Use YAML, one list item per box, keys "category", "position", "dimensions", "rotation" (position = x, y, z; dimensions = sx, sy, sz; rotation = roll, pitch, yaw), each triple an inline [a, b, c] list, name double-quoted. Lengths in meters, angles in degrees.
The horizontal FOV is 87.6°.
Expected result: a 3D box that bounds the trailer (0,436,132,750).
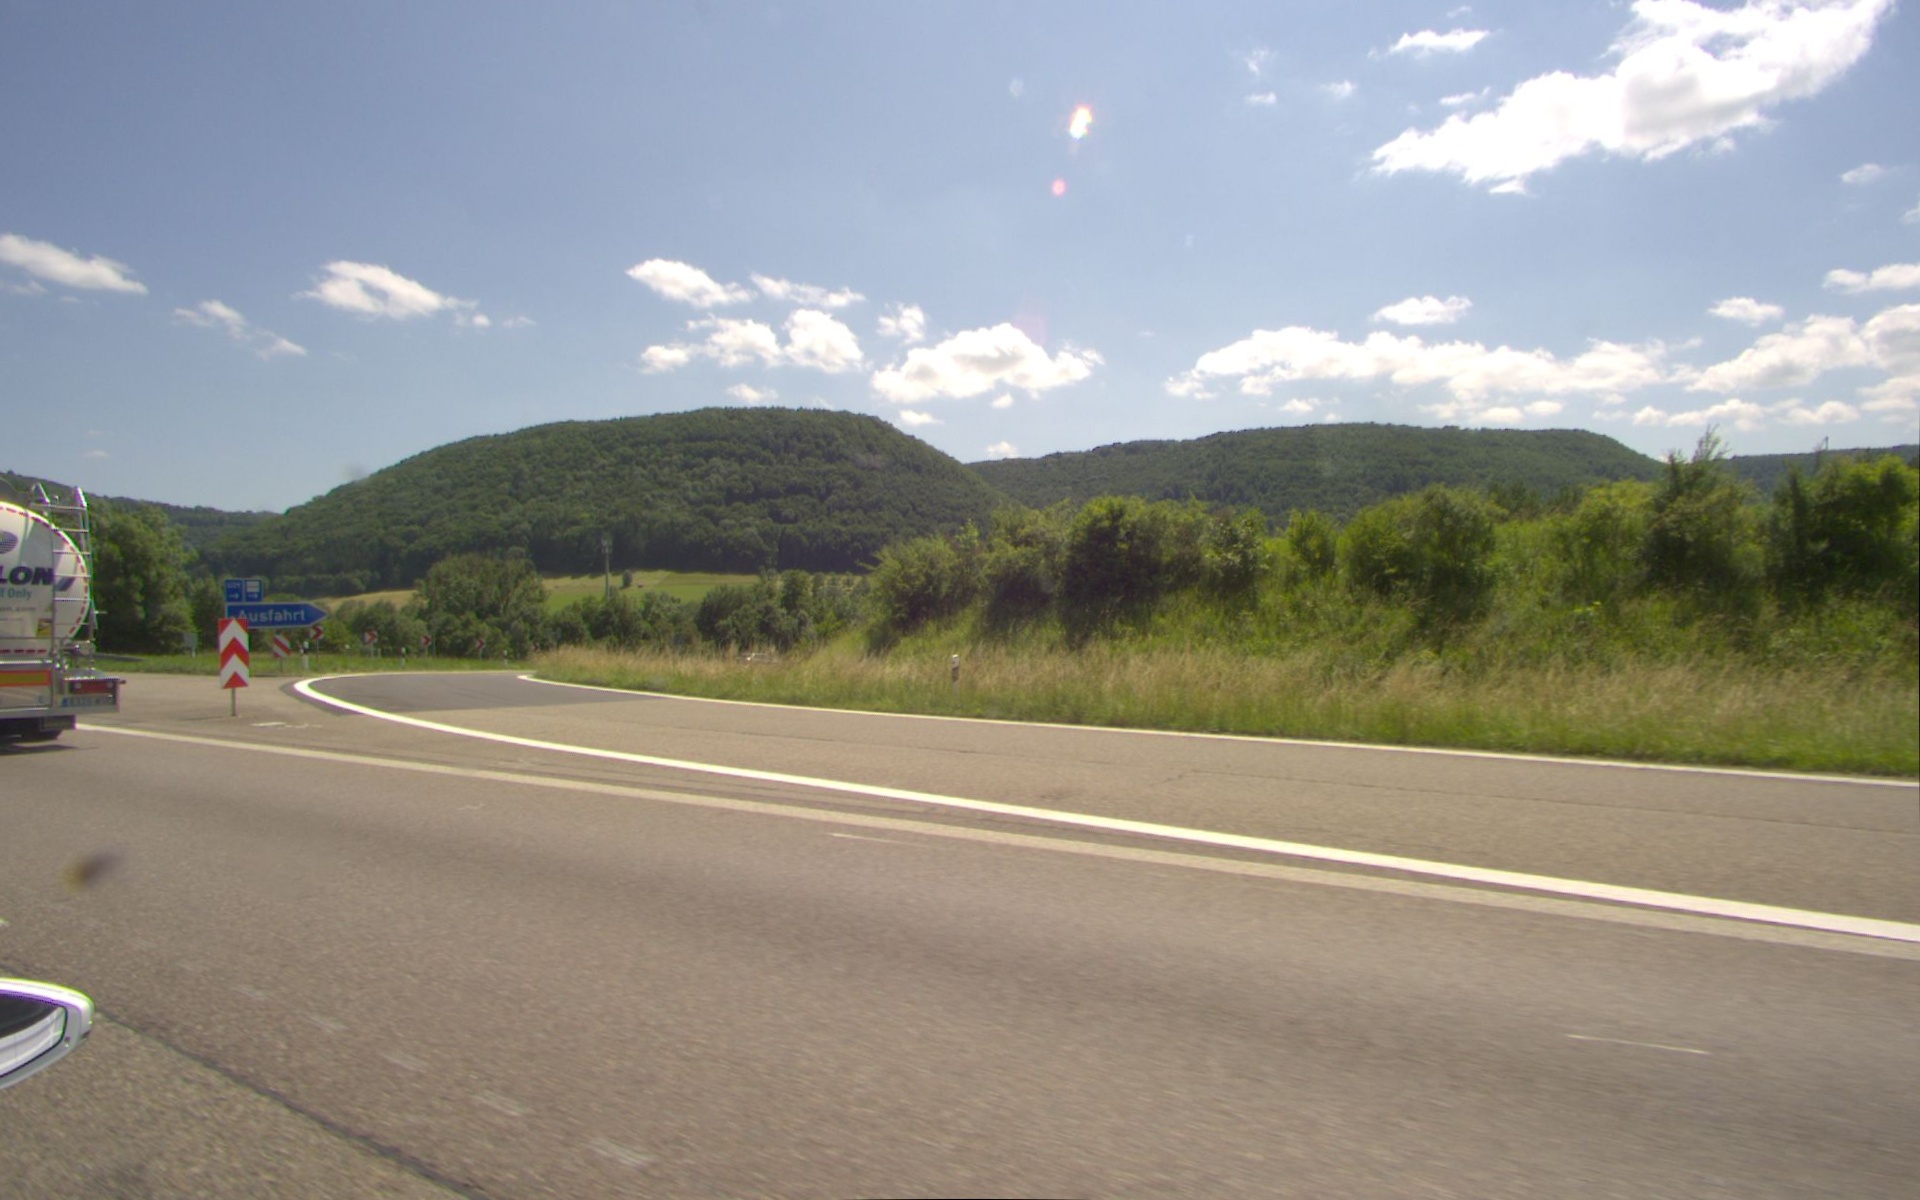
- category: "trailer"
  position: [-16.527, 0.006, 15.183]
  dimensions: [11.720, 3.784, 2.533]
  rotation: [-1, -1, 32]
